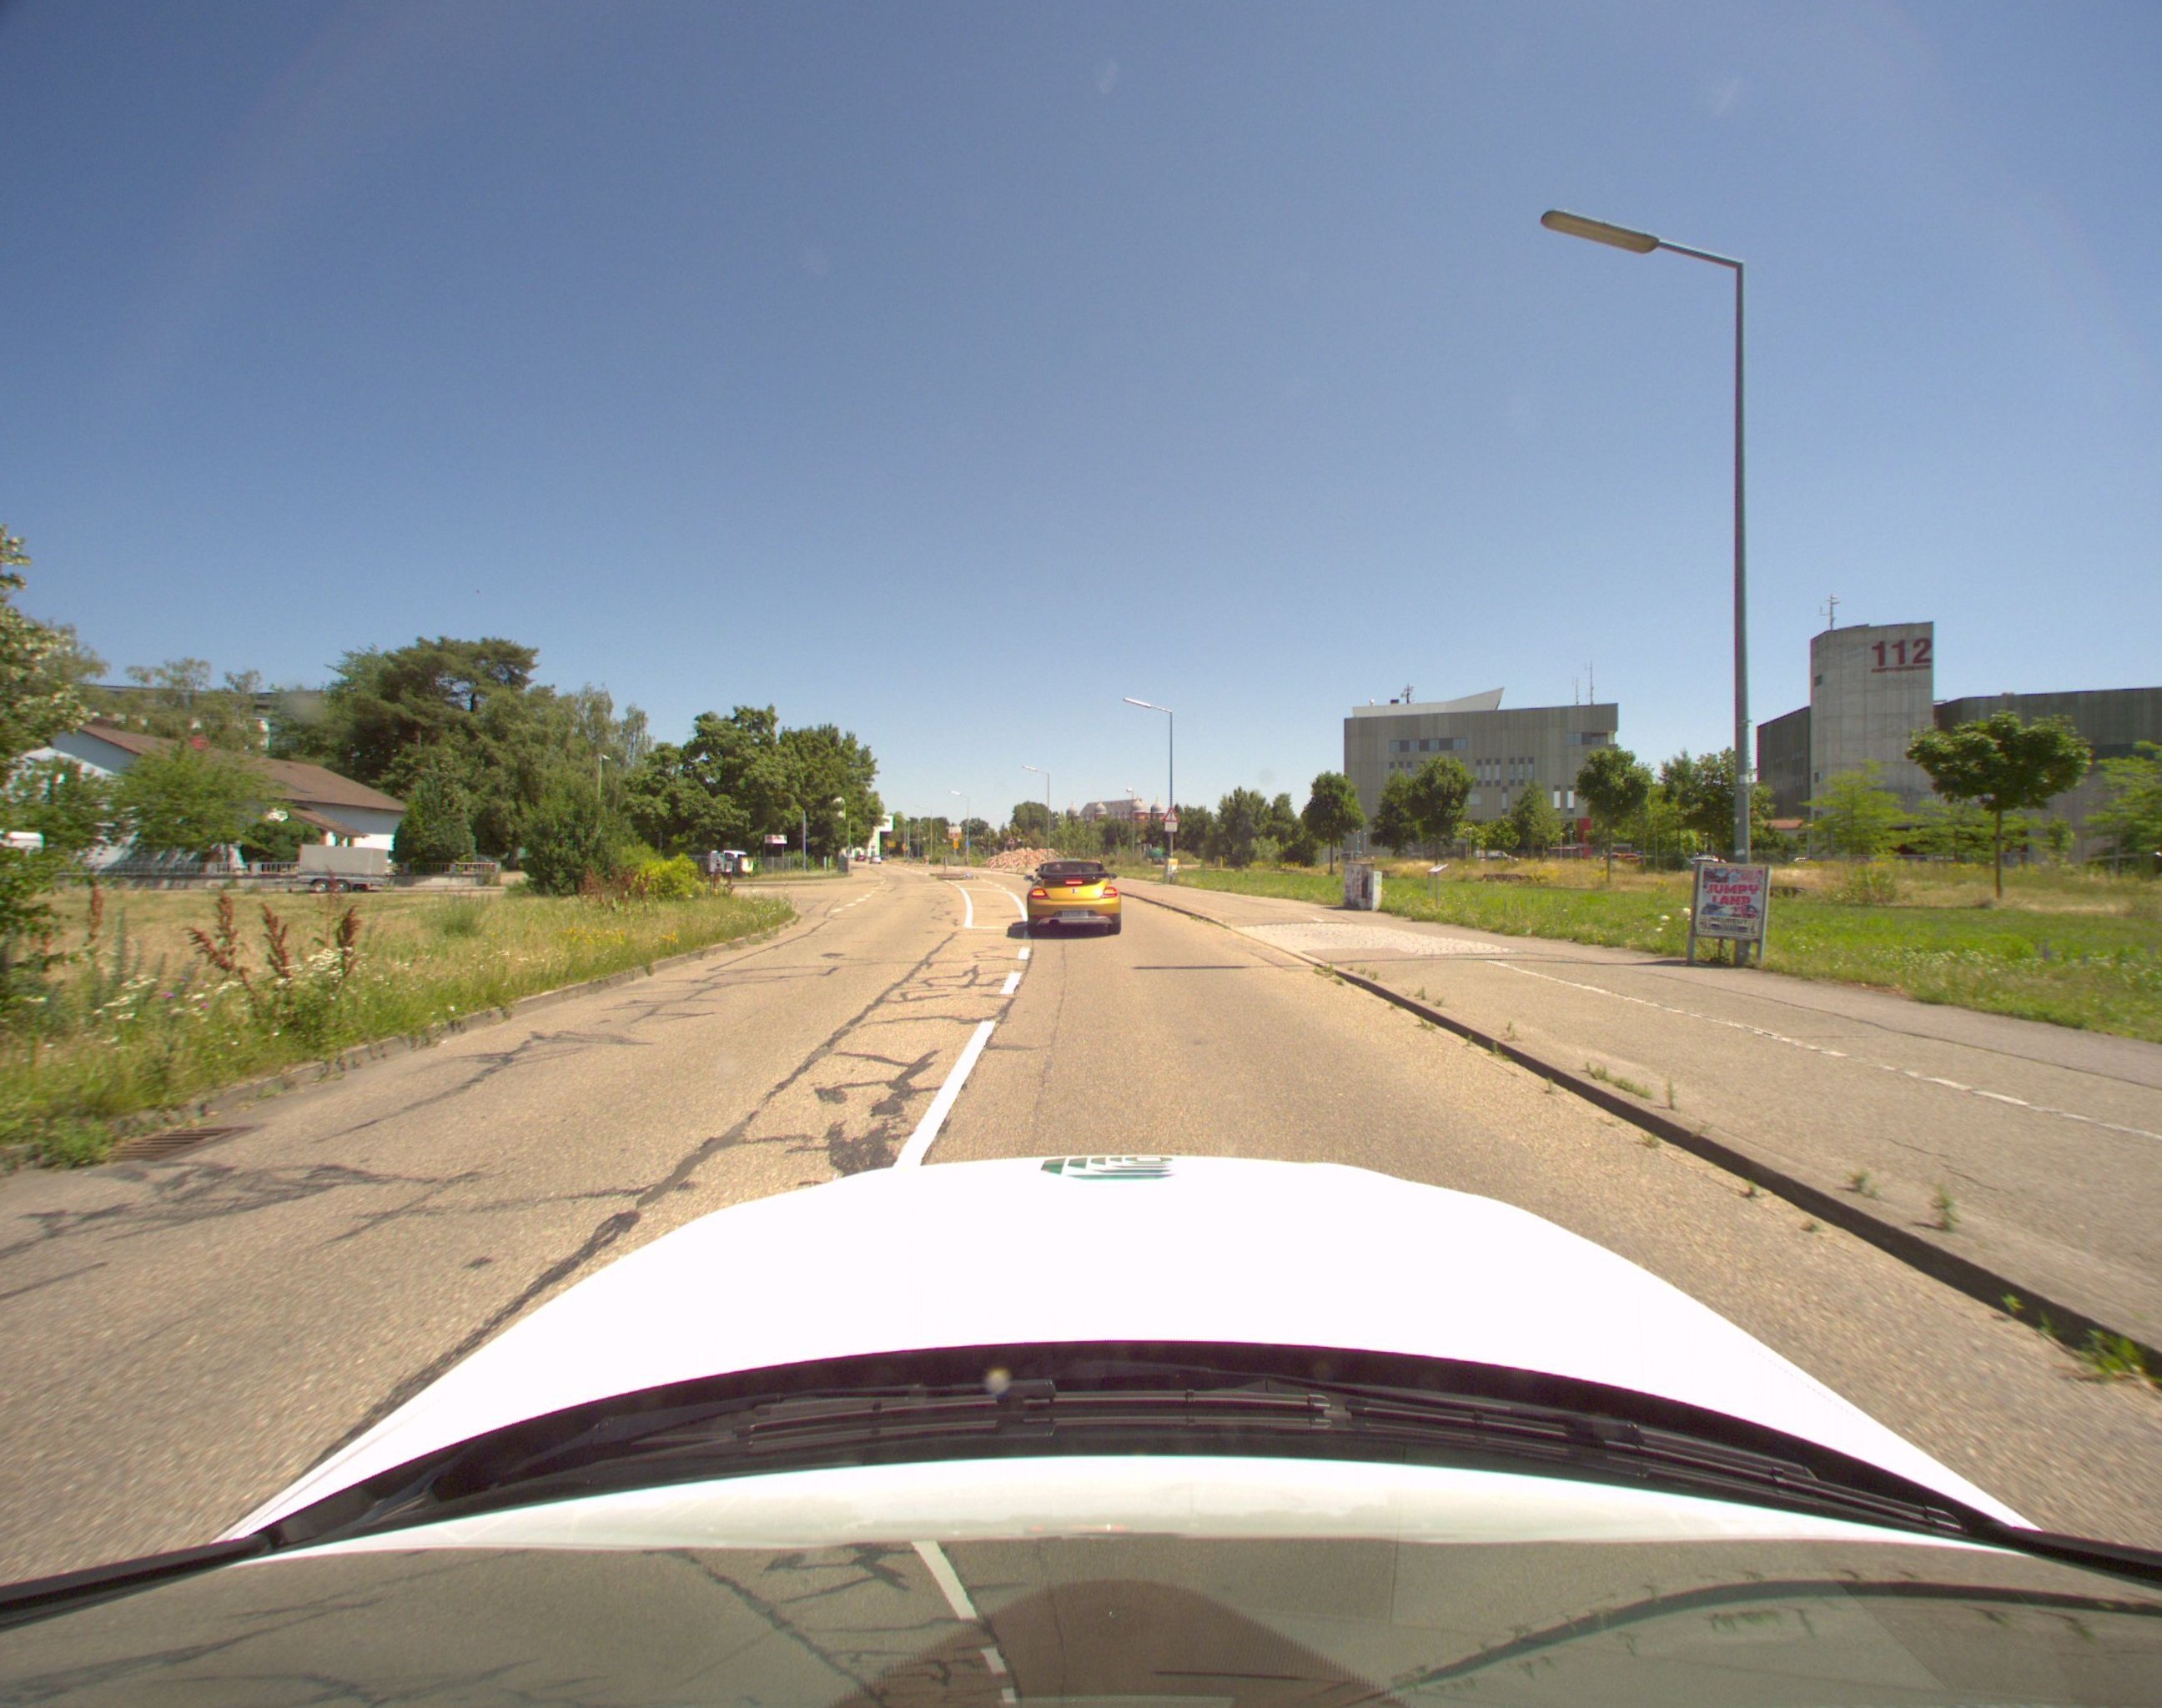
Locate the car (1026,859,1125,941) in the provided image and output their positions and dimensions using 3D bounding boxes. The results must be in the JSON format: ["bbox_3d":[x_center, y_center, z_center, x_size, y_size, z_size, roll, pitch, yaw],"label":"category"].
[{"bbox_3d":[-0.111,0.841,16.641,1.784,1.436,3.812,0,0,-1],"label":"car"}]

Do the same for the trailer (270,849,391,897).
[{"bbox_3d":[-32.755,0.796,35.649,3.422,2.045,1.750,0,-1,-18],"label":"trailer"}]

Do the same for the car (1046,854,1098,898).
[{"bbox_3d":[-0.298,0.737,28.881,1.721,1.443,3.999,0,0,0],"label":"car"}]

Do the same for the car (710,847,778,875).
[{"bbox_3d":[-24.601,0.489,59.658,4.308,1.977,1.776,0,0,-12],"label":"car"}]

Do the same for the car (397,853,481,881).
[{"bbox_3d":[-37.107,0.743,47.158,3.341,1.565,1.763,0,0,-16],"label":"car"}]

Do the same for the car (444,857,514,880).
[{"bbox_3d":[-37.567,0.888,50.874,3.139,1.447,1.536,0,0,-16],"label":"car"}]

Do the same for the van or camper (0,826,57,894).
[{"bbox_3d":[-43.699,0.159,31.415,4.463,2.591,2.477,2,-1,-18],"label":"van or camper"}]

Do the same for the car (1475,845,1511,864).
[{"bbox_3d":[50.240,0.100,99.260,3.808,2.294,1.752,0,0,23],"label":"car"}]

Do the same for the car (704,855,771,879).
[{"bbox_3d":[-22.627,0.831,53.792,3.870,1.526,1.800,0,0,-16],"label":"car"}]

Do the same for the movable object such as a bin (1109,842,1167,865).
[{"bbox_3d":[8.575,-0.044,123.734,4.957,3.260,10.397,0,0,-20],"label":"movable object such as a bin"}]
